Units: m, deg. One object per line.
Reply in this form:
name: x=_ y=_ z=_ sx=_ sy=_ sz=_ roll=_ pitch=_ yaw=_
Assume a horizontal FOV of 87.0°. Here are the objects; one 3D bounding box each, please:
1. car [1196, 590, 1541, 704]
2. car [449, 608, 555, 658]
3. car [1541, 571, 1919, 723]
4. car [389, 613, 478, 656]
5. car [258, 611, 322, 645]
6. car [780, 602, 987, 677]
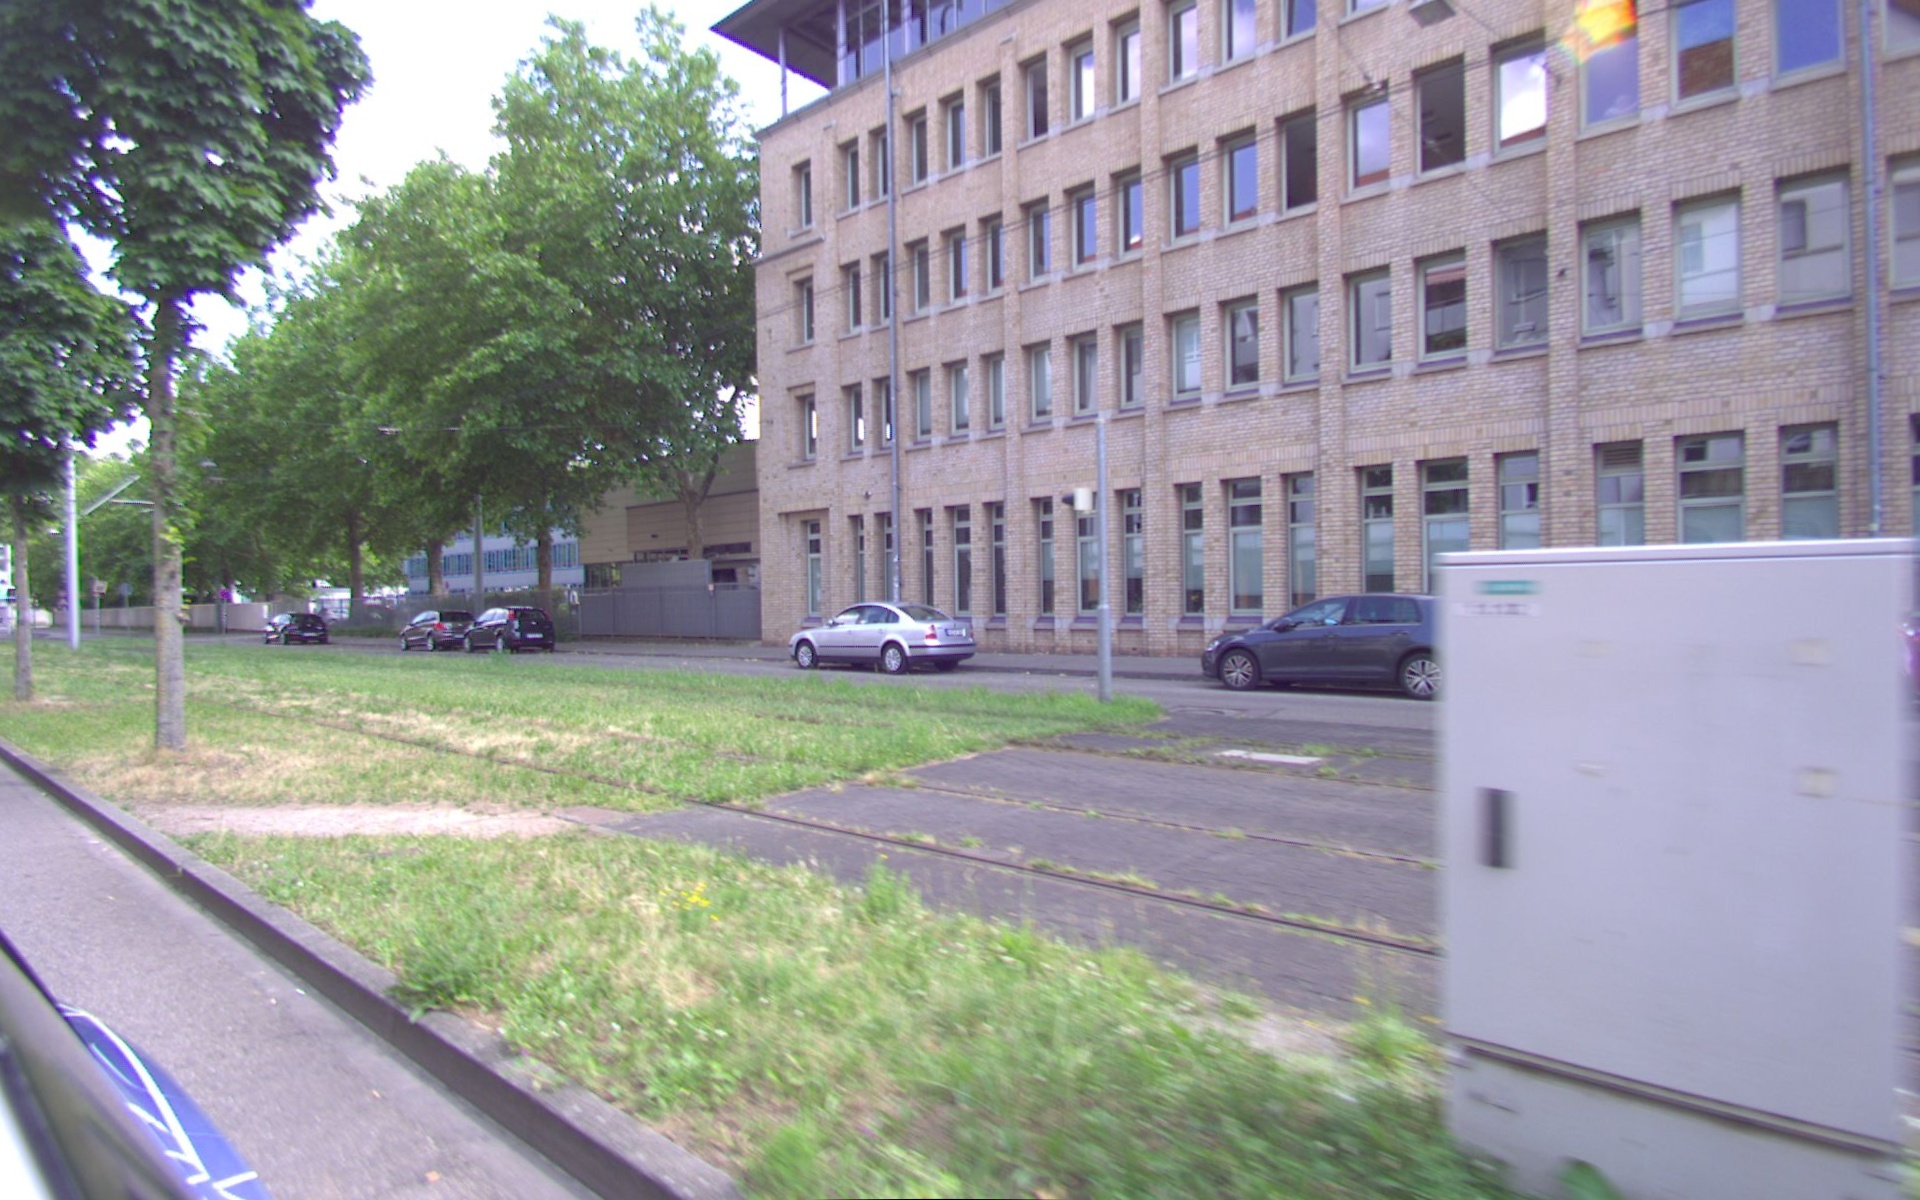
car: x=5.800 y=0.600 z=14.669 sx=4.238 sy=1.406 sz=1.912 roll=-1 pitch=0 yaw=42
car: x=-14.890 y=1.035 z=32.791 sx=4.001 sy=1.464 sz=1.783 roll=-1 pitch=0 yaw=44
car: x=9.044 y=0.492 z=11.934 sx=3.549 sy=1.542 sz=1.566 roll=-1 pitch=0 yaw=42
car: x=-18.983 y=1.213 z=36.434 sx=3.900 sy=1.436 sz=1.538 roll=-1 pitch=0 yaw=41
car: x=-30.973 y=1.264 z=46.742 sx=4.000 sy=1.475 sz=1.580 roll=-1 pitch=0 yaw=43
car: x=-1.690 y=0.777 z=21.185 sx=4.484 sy=1.406 sz=1.697 roll=-1 pitch=0 yaw=42
